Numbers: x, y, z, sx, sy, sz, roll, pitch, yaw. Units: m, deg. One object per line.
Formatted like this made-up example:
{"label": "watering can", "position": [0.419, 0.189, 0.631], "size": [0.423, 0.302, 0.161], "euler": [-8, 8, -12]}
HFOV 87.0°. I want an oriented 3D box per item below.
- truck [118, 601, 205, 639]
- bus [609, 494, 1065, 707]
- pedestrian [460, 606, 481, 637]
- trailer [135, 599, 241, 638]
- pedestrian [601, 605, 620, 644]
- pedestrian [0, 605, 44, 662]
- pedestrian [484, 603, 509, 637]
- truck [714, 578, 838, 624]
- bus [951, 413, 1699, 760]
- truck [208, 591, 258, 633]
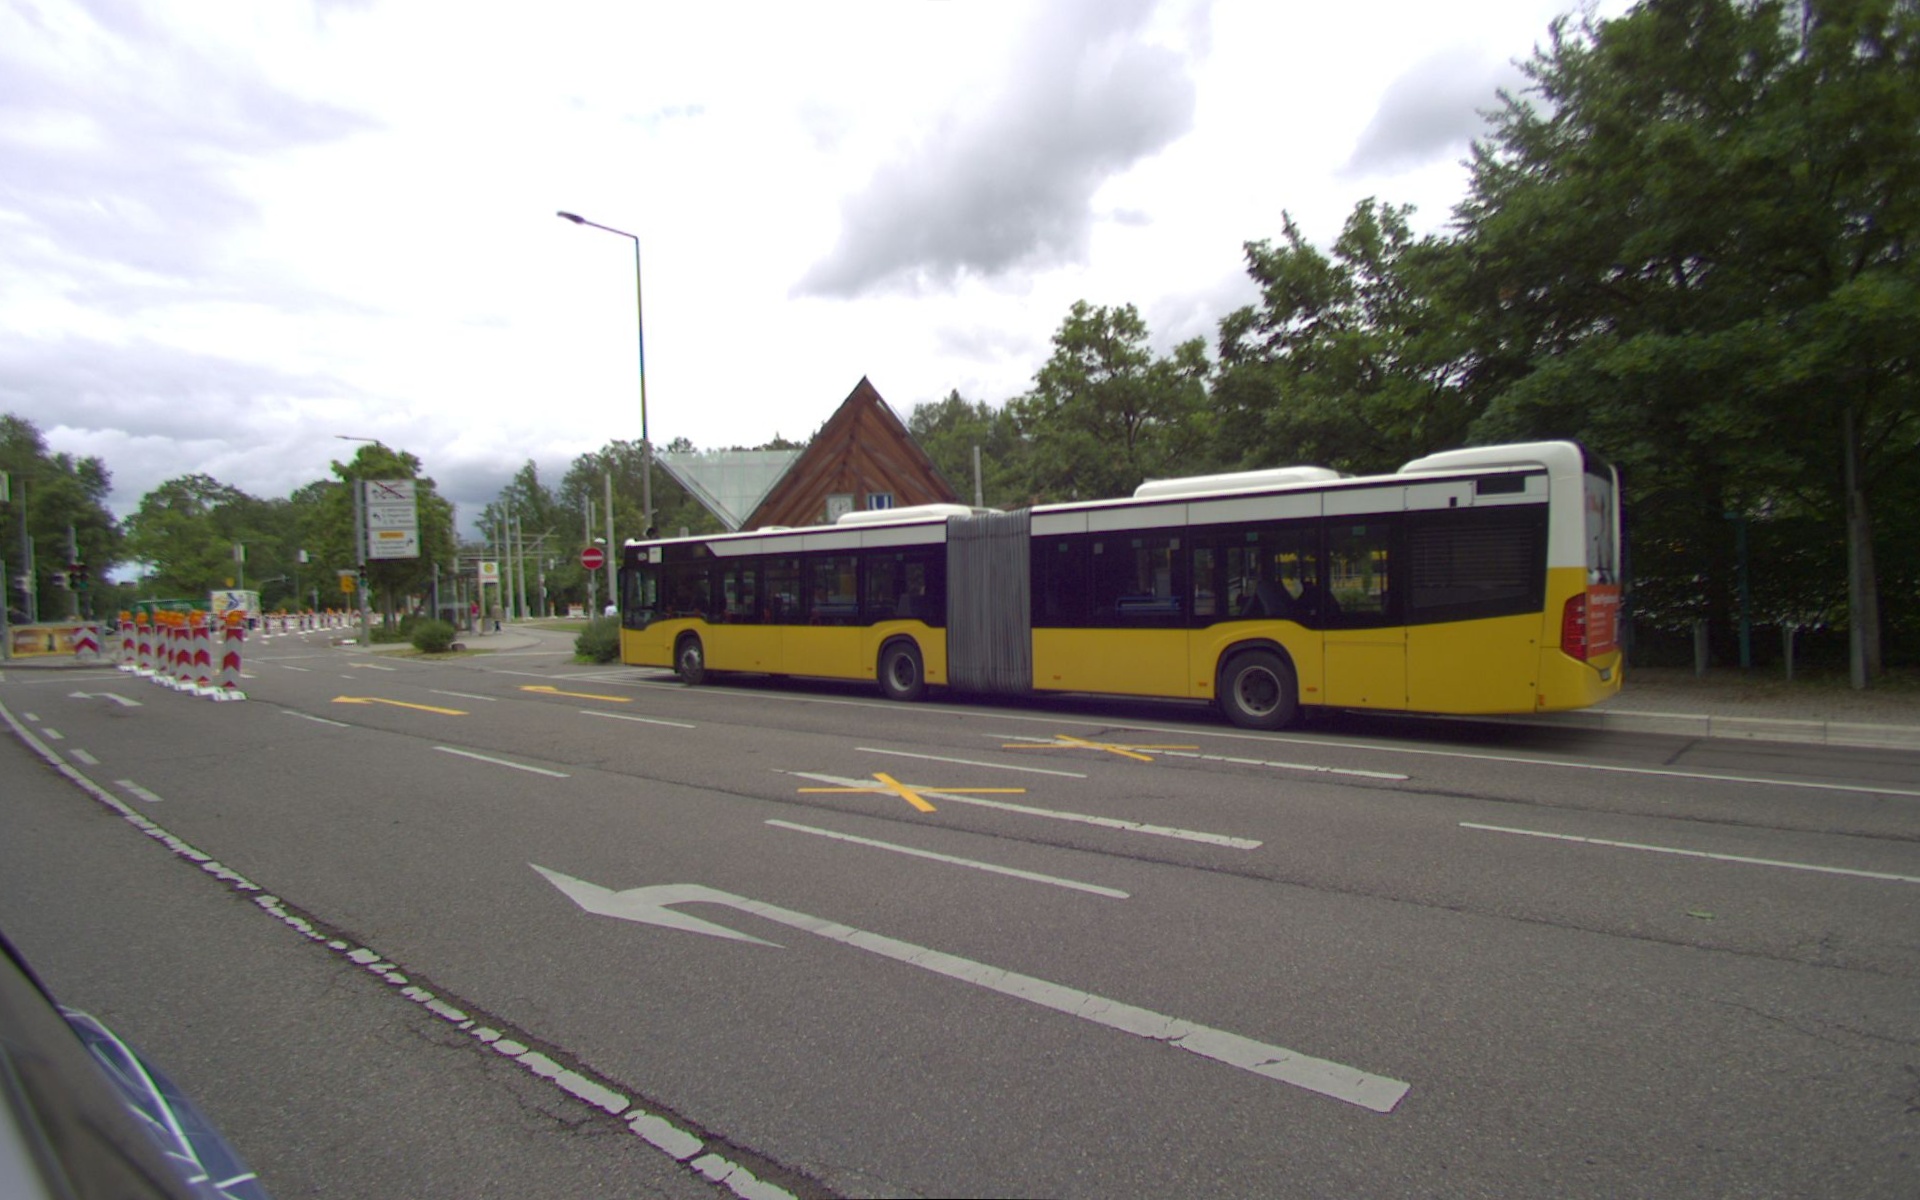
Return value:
{"label": "truck", "position": [-92.188, 2.323, 116.828], "size": [8.707, 3.910, 3.763], "euler": [-3, 1, 21]}
{"label": "bus", "position": [-2.831, 0.076, 19.283], "size": [9.755, 3.150, 2.868], "euler": [-1, -1, 41]}
{"label": "pedestrian", "position": [-25.328, 1.121, 52.361], "size": [0.779, 1.563, 0.777], "euler": [-3, 1, -38]}
{"label": "trailer", "position": [-87.789, 2.116, 115.062], "size": [11.781, 3.910, 3.763], "euler": [-3, 1, 21]}
{"label": "pedestrian", "position": [-14.124, 0.995, 40.924], "size": [0.628, 1.516, 0.633], "euler": [-3, 1, -21]}
{"label": "pedestrian", "position": [-31.059, 1.092, 33.340], "size": [0.758, 1.822, 0.991], "euler": [-3, 1, 12]}
{"label": "pedestrian", "position": [-21.740, 0.940, 47.435], "size": [0.861, 1.536, 0.770], "euler": [-3, 1, -35]}
{"label": "truck", "position": [-10.160, 0.060, 55.872], "size": [6.263, 2.186, 2.587], "euler": [-3, 1, 24]}
{"label": "bus", "position": [4.077, -0.064, 13.149], "size": [8.690, 3.150, 2.868], "euler": [-1, -1, 41]}
{"label": "truck", "position": [-59.259, 0.976, 82.633], "size": [2.592, 3.263, 6.225], "euler": [0, -1, -29]}
